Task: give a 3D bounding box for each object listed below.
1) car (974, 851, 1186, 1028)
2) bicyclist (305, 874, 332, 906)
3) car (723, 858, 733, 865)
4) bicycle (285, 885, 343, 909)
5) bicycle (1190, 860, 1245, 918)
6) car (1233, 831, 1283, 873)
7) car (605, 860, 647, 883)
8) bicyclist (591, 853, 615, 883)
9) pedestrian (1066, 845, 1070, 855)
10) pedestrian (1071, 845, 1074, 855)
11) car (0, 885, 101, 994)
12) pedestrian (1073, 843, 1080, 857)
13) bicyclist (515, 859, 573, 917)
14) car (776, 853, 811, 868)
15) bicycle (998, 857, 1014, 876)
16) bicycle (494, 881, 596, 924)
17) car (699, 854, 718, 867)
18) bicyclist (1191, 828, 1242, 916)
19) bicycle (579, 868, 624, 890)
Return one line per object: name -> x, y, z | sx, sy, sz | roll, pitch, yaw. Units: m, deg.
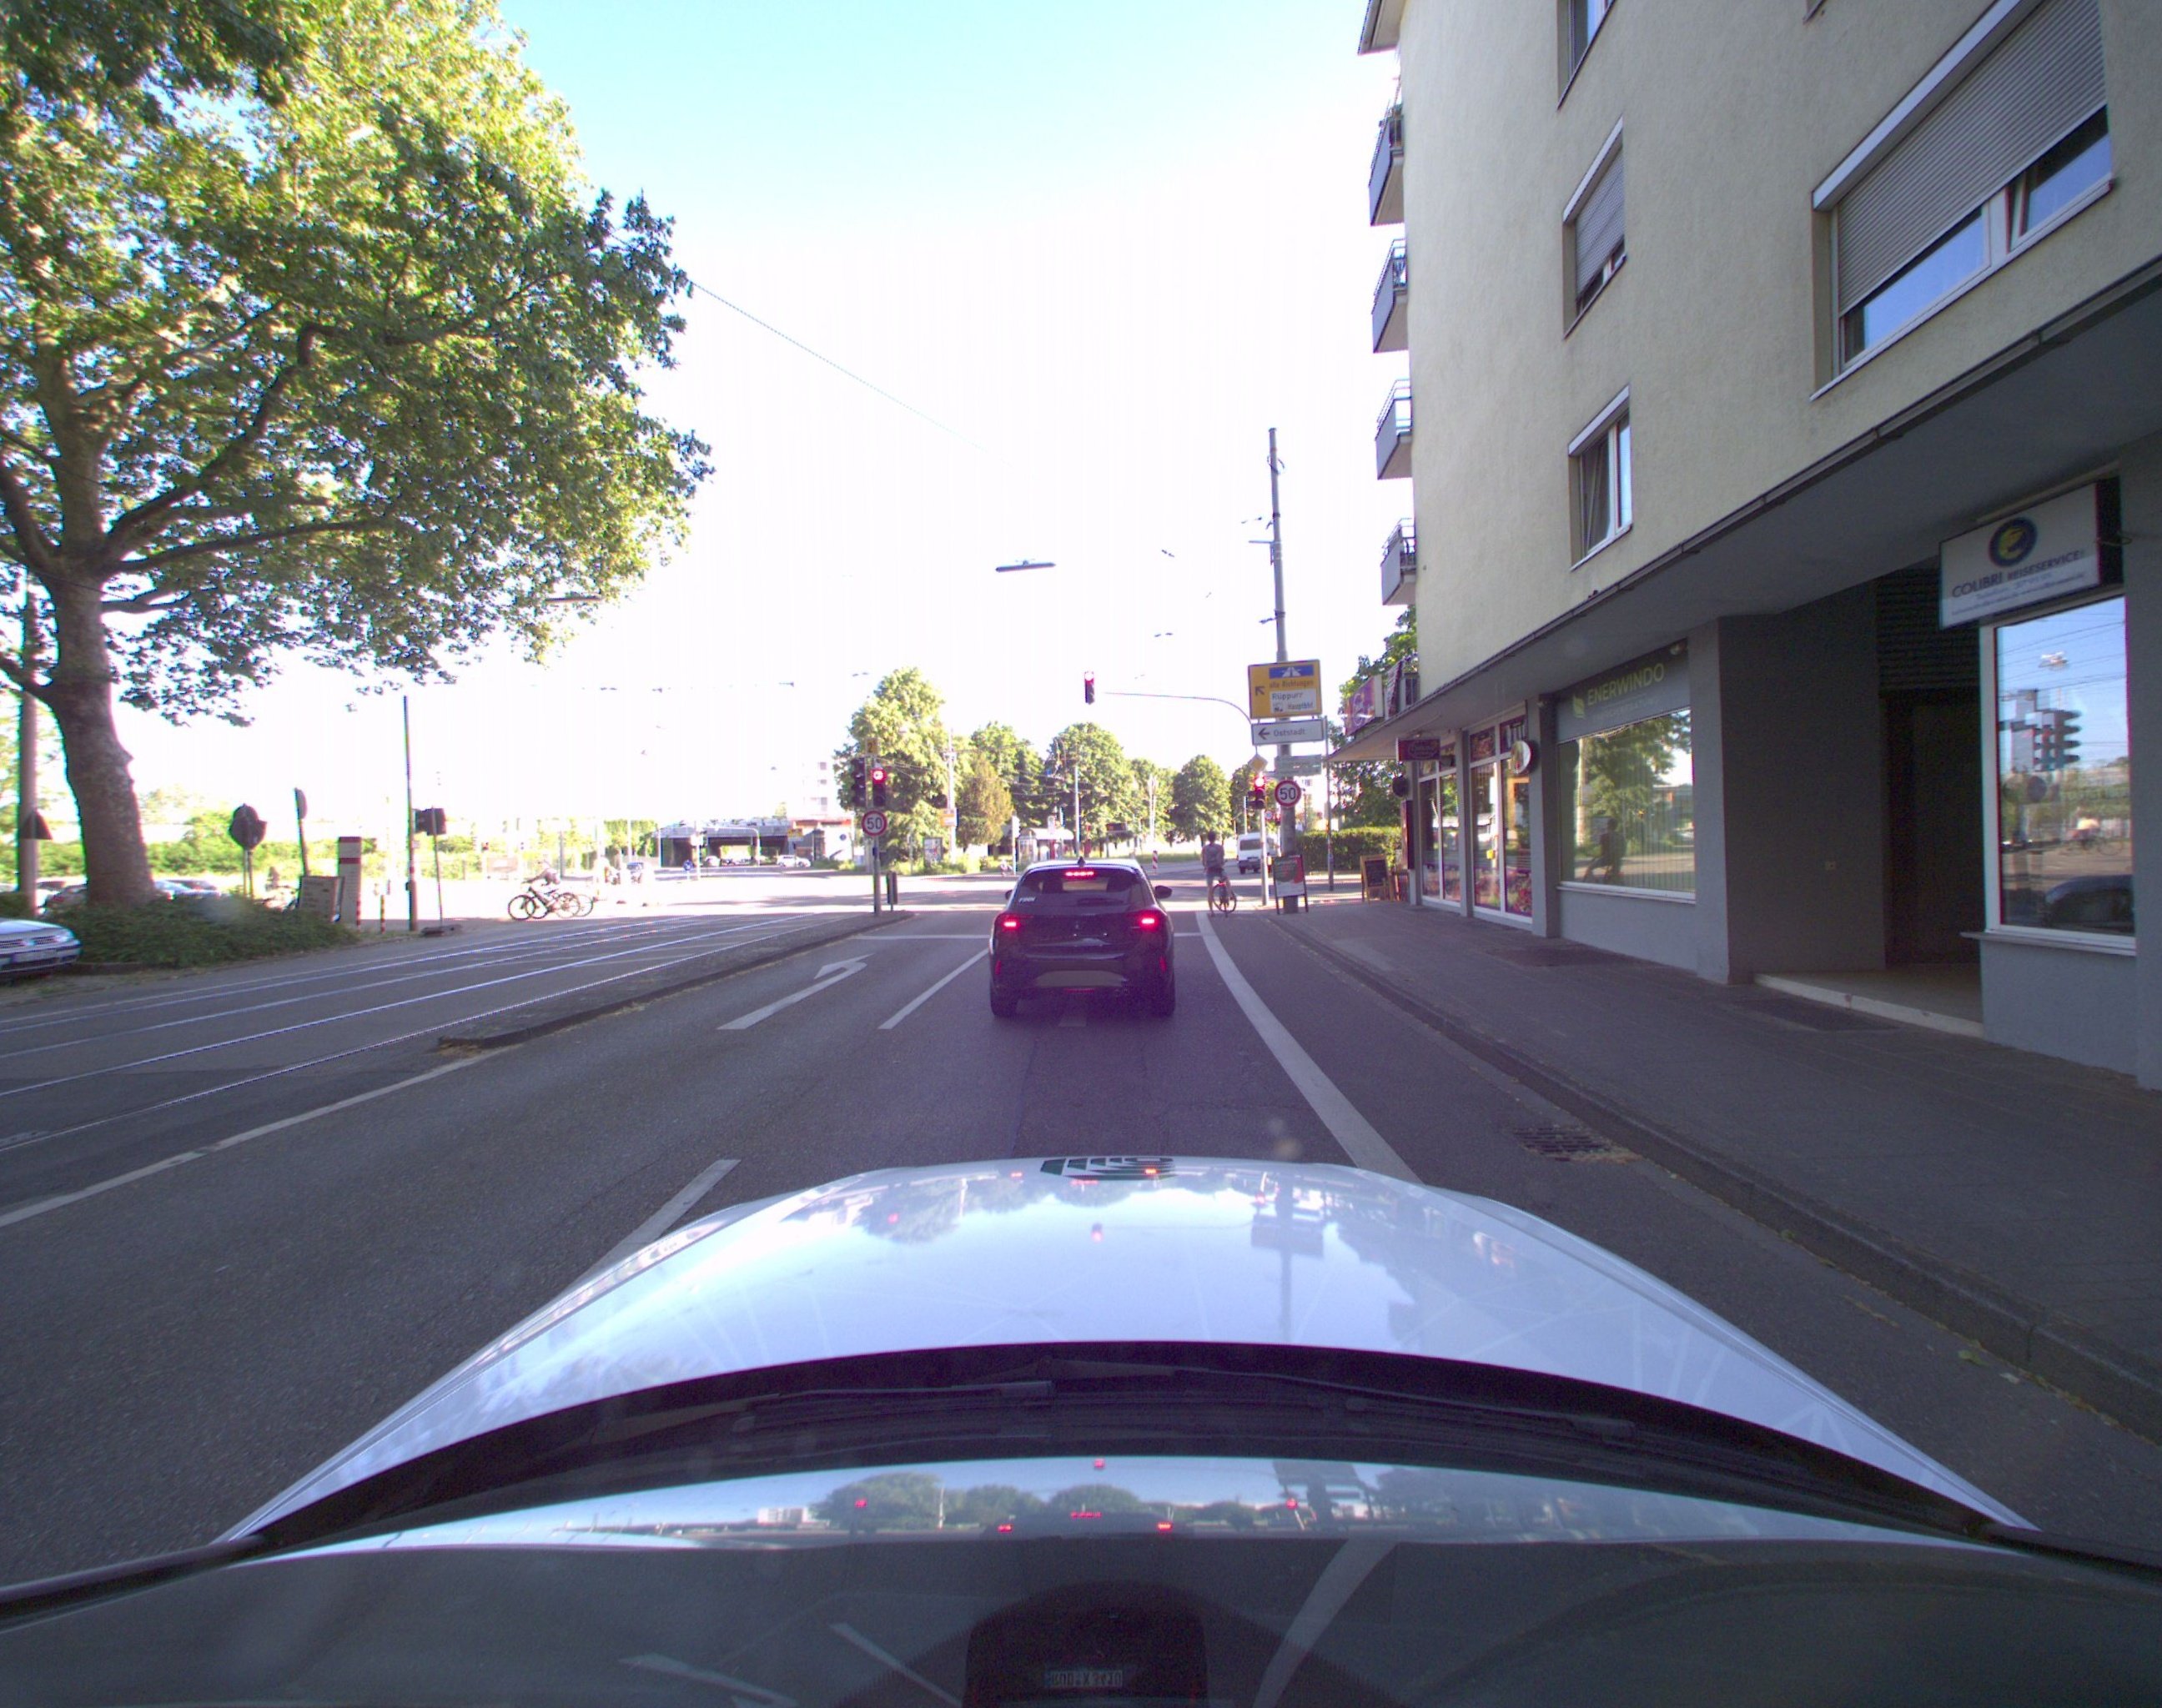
car -> 0.066, 0.698, 8.778 | 1.720, 1.429, 4.189 | -1, 0, 2
bicyclist -> -39.049, 1.825, 41.730 | 0.629, 1.563, 0.838 | -2, 0, 33
car -> -83.509, 1.751, 192.774 | 2.003, 1.602, 4.213 | -2, 0, -24
bicycle -> -39.111, 2.173, 41.563 | 0.575, 1.060, 2.055 | -2, 0, 33
bicycle -> 2.985, 0.737, 18.001 | 0.857, 1.153, 2.172 | -2, 0, 1
car -> 10.146, -0.151, 46.389 | 2.046, 2.248, 4.912 | -2, 0, 20
car -> -31.286, 1.158, 56.108 | 1.830, 1.519, 3.870 | 0, 0, -18
bicyclist -> -25.587, 0.748, 43.572 | 0.857, 1.595, 0.650 | -2, 0, 2
pedestrian -> -1.755, -0.513, 110.226 | 0.411, 1.412, 0.436 | 0, -1, -1
pedestrian -> -1.125, -0.514, 109.669 | 0.411, 1.412, 0.436 | 0, -1, 1
car -> -16.958, 1.201, 11.369 | 4.497, 1.429, 1.676 | 0, 0, 0
pedestrian -> -0.647, -0.590, 120.356 | 0.915, 1.981, 0.991 | 0, -1, -4
bicyclist -> -14.840, 0.923, 22.548 | 1.117, 1.520, 0.915 | -2, 0, -21
car -> -38.236, 0.886, 108.415 | 4.175, 1.805, 1.731 | -2, 0, -10
bicycle -> -4.305, 0.728, 46.744 | 0.603, 1.031, 1.983 | -2, 0, 2
bicycle -> -14.815, 1.316, 22.573 | 2.199, 1.033, 0.828 | -2, 0, -21
car -> -56.106, 0.993, 122.676 | 2.221, 1.823, 4.118 | -2, 0, -21
bicyclist -> 2.978, 0.387, 17.937 | 0.938, 1.851, 0.864 | -2, 0, 1
bicycle -> -25.664, 1.321, 43.583 | 2.046, 1.094, 0.593 | -2, 0, 2
